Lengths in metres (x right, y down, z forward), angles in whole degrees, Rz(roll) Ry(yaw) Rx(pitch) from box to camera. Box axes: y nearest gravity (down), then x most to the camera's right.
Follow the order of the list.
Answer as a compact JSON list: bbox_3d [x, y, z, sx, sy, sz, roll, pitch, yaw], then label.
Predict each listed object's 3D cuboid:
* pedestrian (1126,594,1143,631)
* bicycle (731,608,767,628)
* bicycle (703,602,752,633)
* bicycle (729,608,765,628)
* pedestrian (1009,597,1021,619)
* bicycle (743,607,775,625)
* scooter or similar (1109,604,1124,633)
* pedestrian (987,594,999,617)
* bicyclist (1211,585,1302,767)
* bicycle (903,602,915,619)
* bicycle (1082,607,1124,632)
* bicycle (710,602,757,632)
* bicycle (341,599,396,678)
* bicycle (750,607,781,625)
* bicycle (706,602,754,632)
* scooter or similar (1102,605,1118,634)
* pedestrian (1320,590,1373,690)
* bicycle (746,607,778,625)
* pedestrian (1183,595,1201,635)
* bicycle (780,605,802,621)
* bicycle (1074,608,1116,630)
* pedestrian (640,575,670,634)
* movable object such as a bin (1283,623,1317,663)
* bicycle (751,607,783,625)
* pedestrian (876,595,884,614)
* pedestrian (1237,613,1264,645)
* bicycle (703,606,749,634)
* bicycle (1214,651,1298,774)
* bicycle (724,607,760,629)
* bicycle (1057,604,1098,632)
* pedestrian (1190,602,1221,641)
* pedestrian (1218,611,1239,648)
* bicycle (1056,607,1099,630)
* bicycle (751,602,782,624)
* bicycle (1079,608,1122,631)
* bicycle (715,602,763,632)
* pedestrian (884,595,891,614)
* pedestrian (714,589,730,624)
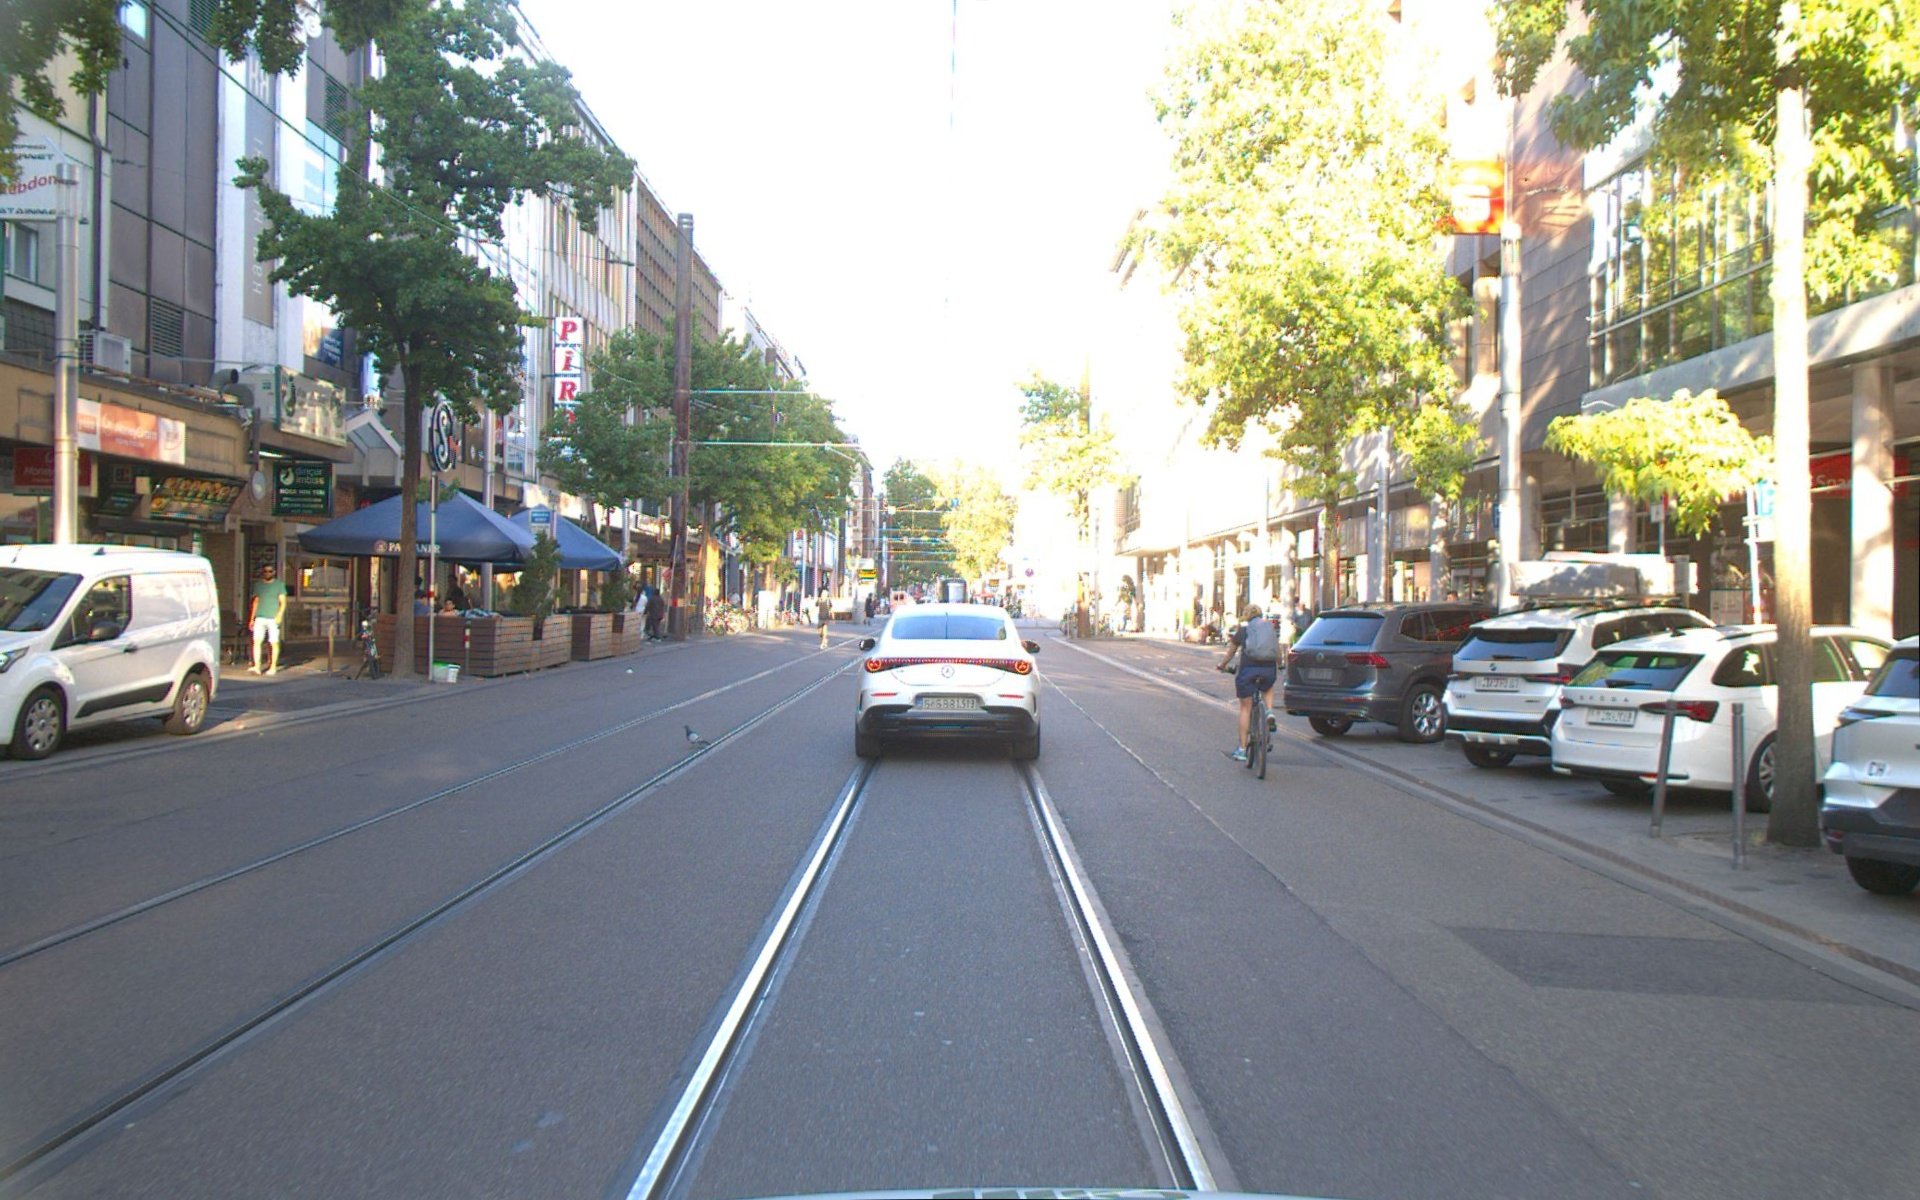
[{"bbox_3d":[9.011,0.651,85.551,0.687,1.844,1.033,-3,0,-1],"label":"pedestrian"},{"bbox_3d":[-9.132,0.781,71.629,1.462,0.797,0.344,2,0,1],"label":"bicycle"},{"bbox_3d":[-8.734,0.652,62.217,1.754,1.096,0.377,2,0,-4],"label":"bicycle"},{"bbox_3d":[-9.135,0.778,70.999,1.462,0.797,0.344,2,0,1],"label":"bicycle"},{"bbox_3d":[4.590,0.695,137.271,0.941,1.817,0.803,-1,0,-1],"label":"pedestrian"},{"bbox_3d":[-9.527,0.761,78.496,1.462,0.797,0.344,2,0,1],"label":"bicycle"},{"bbox_3d":[7.056,0.850,74.641,0.482,1.299,0.658,-1,0,-11],"label":"scooter or similar"},{"bbox_3d":[2.653,0.457,133.437,0.941,1.817,0.803,-1,0,-1],"label":"pedestrian"},{"bbox_3d":[2.817,0.705,15.793,0.761,1.641,0.913,3,0,9],"label":"bicyclist"},{"bbox_3d":[-3.705,0.775,120.048,0.784,1.162,2.256,2,0,-2],"label":"bicycle"},{"bbox_3d":[6.862,0.927,79.308,1.874,1.177,0.608,-1,0,-12],"label":"bicycle"},{"bbox_3d":[-9.117,0.684,66.508,1.808,1.160,0.377,2,0,1],"label":"bicycle"},{"bbox_3d":[-9.527,0.607,26.704,0.686,1.140,2.076,4,0,-17],"label":"bicycle"},{"bbox_3d":[-9.393,0.787,79.934,1.462,0.797,0.344,2,0,1],"label":"bicycle"},{"bbox_3d":[-8.706,0.640,62.708,1.754,1.096,0.377,2,0,-4],"label":"bicycle"},{"bbox_3d":[6.835,0.865,75.299,0.518,1.299,0.658,-1,0,-11],"label":"scooter or similar"},{"bbox_3d":[6.804,0.697,29.107,0.667,1.715,0.694,-1,0,33],"label":"pedestrian"},{"bbox_3d":[-9.513,0.784,79.570,1.462,0.797,0.344,2,0,1],"label":"bicycle"},{"bbox_3d":[9.848,0.619,70.146,0.624,1.682,0.781,1,0,1],"label":"pedestrian"},{"bbox_3d":[-10.519,0.804,102.888,0.703,1.027,2.041,1,0,13],"label":"bicycle"},{"bbox_3d":[6.923,0.971,84.632,2.076,1.115,0.608,0,-1,-12],"label":"bicycle"},{"bbox_3d":[-10.485,0.137,56.868,0.785,1.957,1.070,3,0,-3],"label":"pedestrian"},{"bbox_3d":[8.498,1.078,41.395,0.676,0.940,0.718,2,0,0],"label":"movable object such as a bin"},{"bbox_3d":[-9.362,0.782,80.303,1.462,0.797,0.344,2,0,1],"label":"bicycle"},{"bbox_3d":[-6.933,0.399,142.769,0.646,1.627,0.573,1,0,-1],"label":"pedestrian"},{"bbox_3d":[9.774,0.964,55.608,0.818,1.049,0.696,1,0,4],"label":"pedestrian"},{"bbox_3d":[-8.419,0.709,59.496,1.562,0.947,0.377,2,0,6],"label":"bicycle"},{"bbox_3d":[2.836,1.050,16.017,0.703,1.012,2.060,3,0,9],"label":"bicycle"},{"bbox_3d":[-9.281,0.765,70.322,1.462,0.855,0.344,2,0,1],"label":"bicycle"},{"bbox_3d":[5.678,0.876,80.110,1.874,1.304,0.608,-1,0,-12],"label":"bicycle"},{"bbox_3d":[8.979,0.784,60.501,0.822,1.401,0.772,1,0,-23],"label":"pedestrian"},{"bbox_3d":[9.245,1.014,56.951,0.652,1.219,0.785,1,0,5],"label":"pedestrian"},{"bbox_3d":[5.907,0.923,83.096,2.076,1.115,0.608,1,-1,-12],"label":"bicycle"},{"bbox_3d":[-9.487,0.649,81.261,1.465,1.027,0.344,2,0,-11],"label":"bicycle"},{"bbox_3d":[6.998,0.982,82.434,2.077,1.115,0.608,0,-1,-13],"label":"bicycle"},{"bbox_3d":[-8.540,0.664,63.934,1.810,1.096,0.377,2,0,-4],"label":"bicycle"},{"bbox_3d":[-6.259,0.413,142.843,0.646,1.627,0.573,1,0,-1],"label":"pedestrian"},{"bbox_3d":[-11.371,0.323,78.964,0.700,1.668,0.684,1,0,-6],"label":"pedestrian"}]
